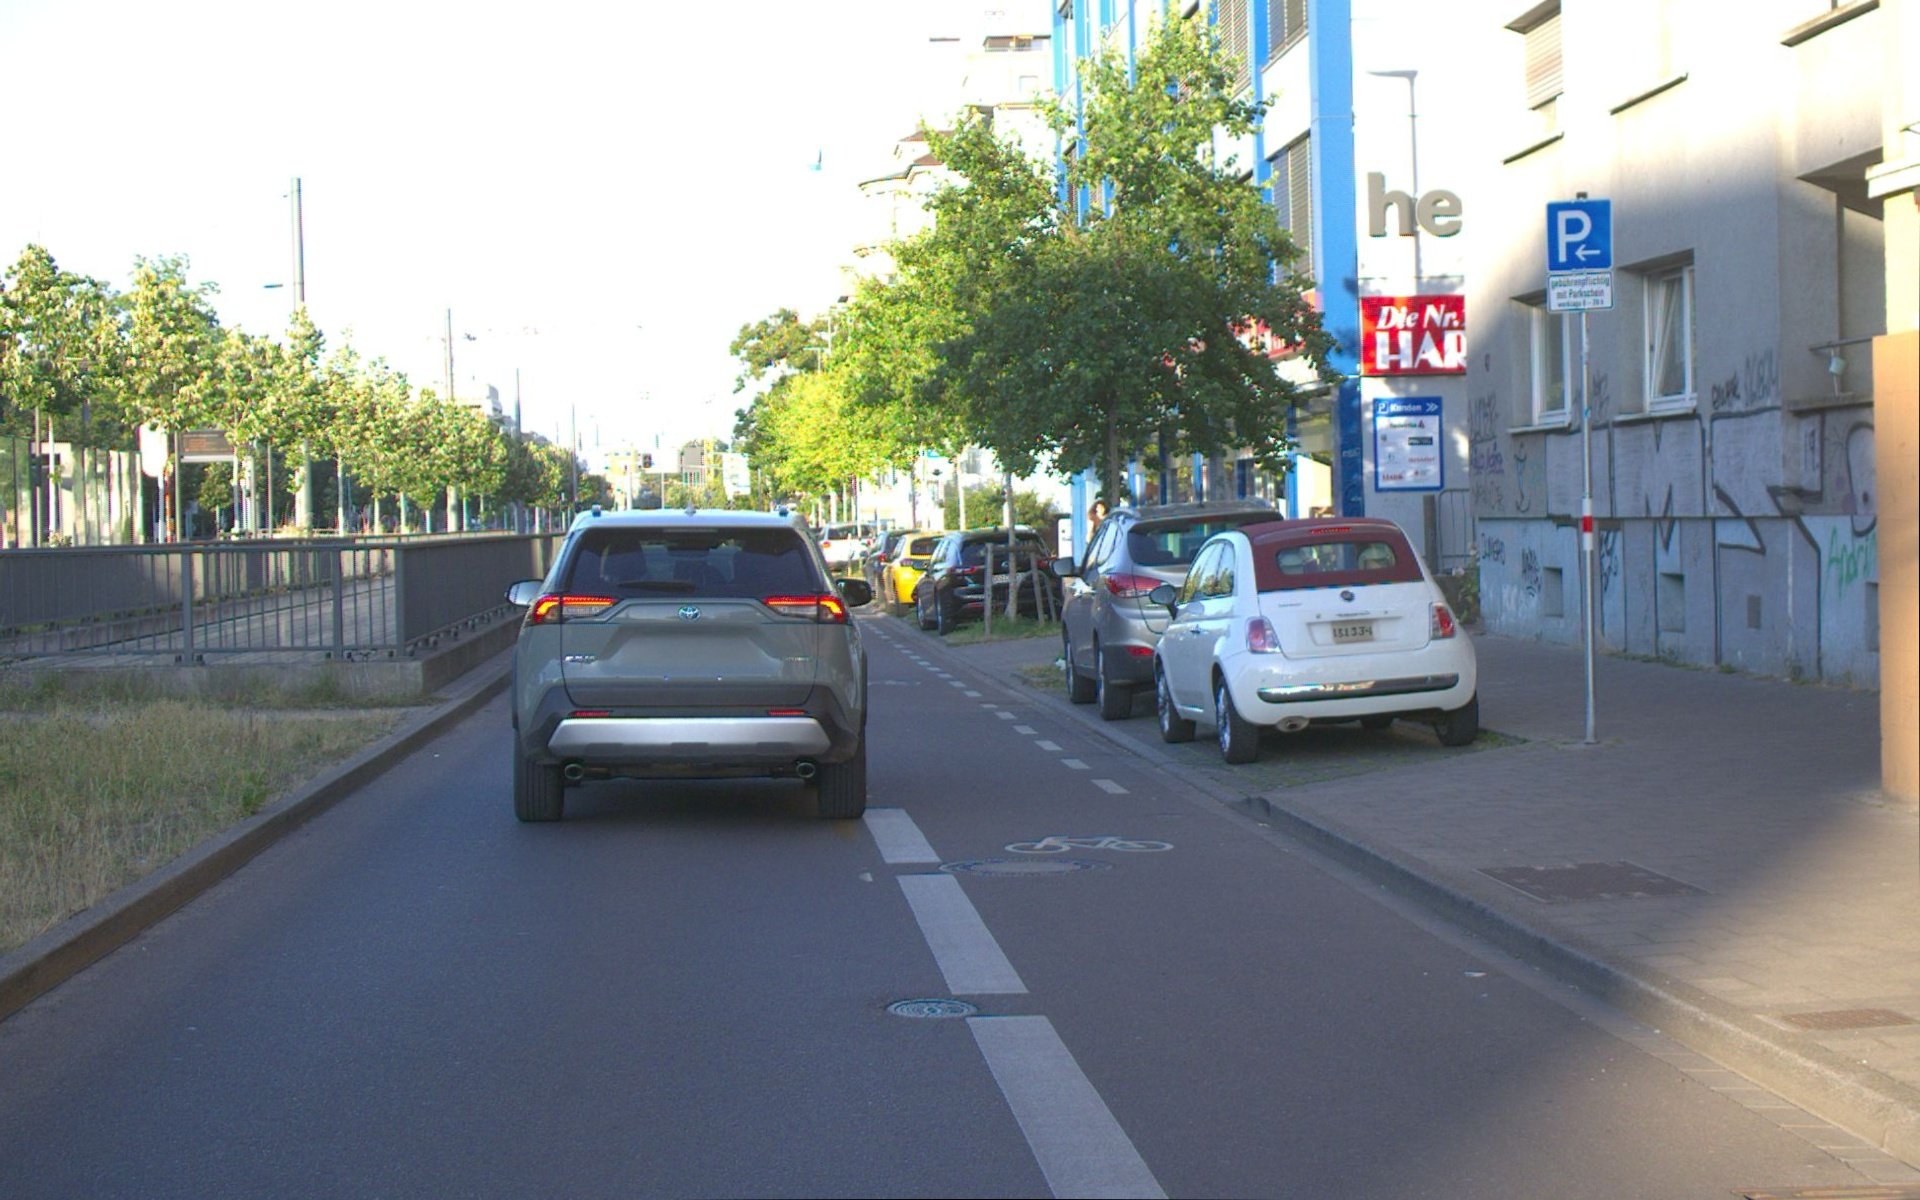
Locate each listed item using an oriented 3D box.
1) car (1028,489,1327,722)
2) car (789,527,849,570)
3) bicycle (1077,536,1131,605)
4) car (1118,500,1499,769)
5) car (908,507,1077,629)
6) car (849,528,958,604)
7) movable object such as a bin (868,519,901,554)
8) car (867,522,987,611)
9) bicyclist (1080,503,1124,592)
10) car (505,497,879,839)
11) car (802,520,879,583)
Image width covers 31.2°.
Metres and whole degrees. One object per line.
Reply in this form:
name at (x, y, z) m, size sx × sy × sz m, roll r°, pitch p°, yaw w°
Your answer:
car at (1.686, -0.014, 28.159) m, size 1.756 × 1.648 × 4.529 m, roll -4°, pitch 2°, yaw -4°
car at (-5.324, -1.964, 129.331) m, size 1.792 × 1.466 × 4.446 m, roll -4°, pitch 2°, yaw -7°
bicycle at (2.453, -0.512, 58.717) m, size 0.554 × 1.125 × 1.974 m, roll -4°, pitch 1°, yaw -6°
car at (2.235, 0.173, 22.935) m, size 1.669 × 1.512 × 3.602 m, roll -5°, pitch 2°, yaw -7°
car at (0.416, -0.497, 50.259) m, size 1.819 × 1.561 × 4.811 m, roll -5°, pitch 2°, yaw -6°
car at (-1.192, -0.723, 70.821) m, size 1.819 × 1.449 × 4.129 m, roll -2°, pitch 1°, yaw -6°
movable object such as a bin at (-3.177, -2.686, 145.326) m, size 1.259 × 1.457 × 1.124 m, roll -1°, pitch 1°, yaw -7°
car at (-0.612, -0.604, 60.497) m, size 1.683 × 1.449 × 4.131 m, roll -2°, pitch 1°, yaw -6°
bicyclist at (2.426, -0.895, 58.683) m, size 0.558 × 1.470 × 0.623 m, roll -4°, pitch 1°, yaw -6°
car at (-1.559, 0.310, 19.313) m, size 1.857 × 1.708 × 4.193 m, roll 0°, pitch 1°, yaw -6°
car at (-3.511, -1.436, 100.184) m, size 1.854 × 1.701 × 4.255 m, roll -3°, pitch 2°, yaw -6°
